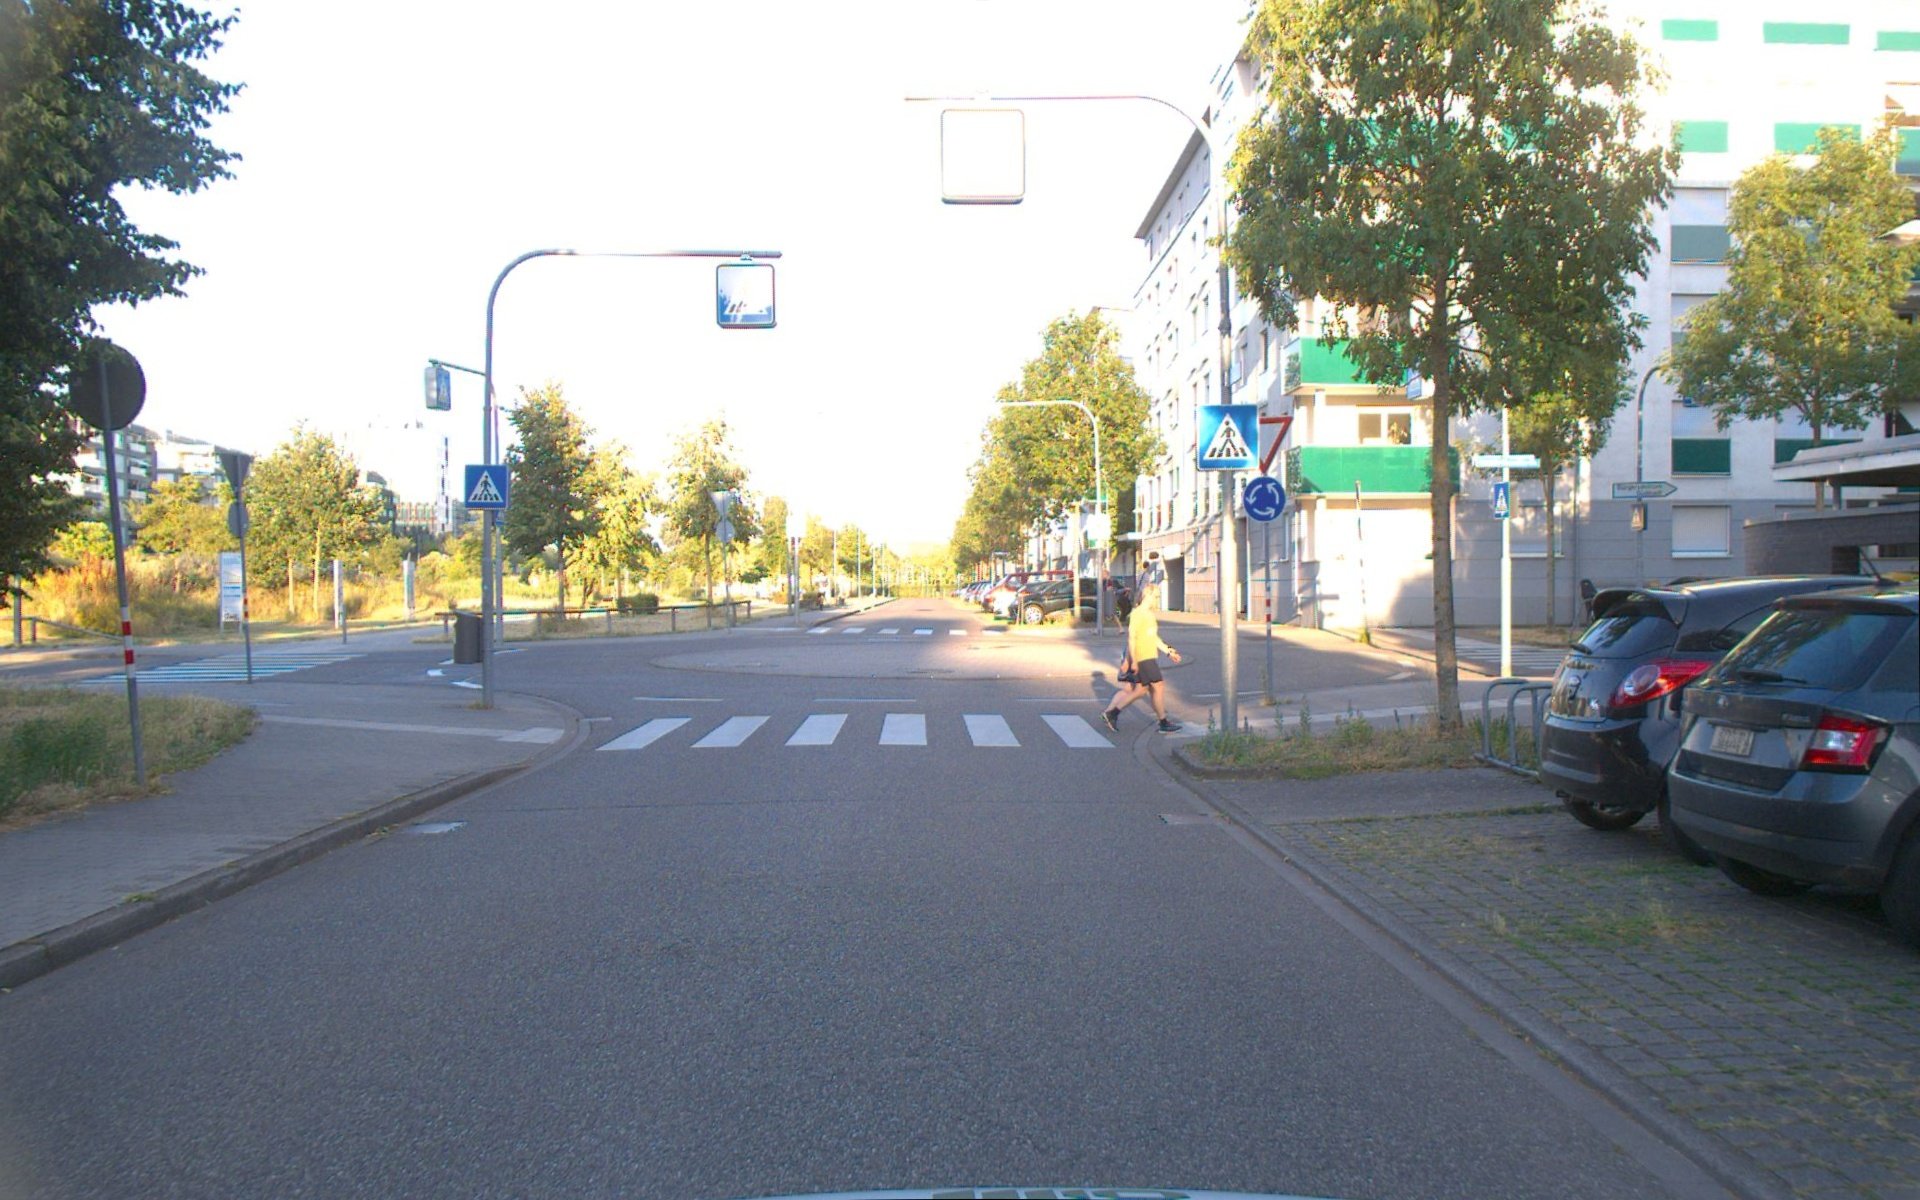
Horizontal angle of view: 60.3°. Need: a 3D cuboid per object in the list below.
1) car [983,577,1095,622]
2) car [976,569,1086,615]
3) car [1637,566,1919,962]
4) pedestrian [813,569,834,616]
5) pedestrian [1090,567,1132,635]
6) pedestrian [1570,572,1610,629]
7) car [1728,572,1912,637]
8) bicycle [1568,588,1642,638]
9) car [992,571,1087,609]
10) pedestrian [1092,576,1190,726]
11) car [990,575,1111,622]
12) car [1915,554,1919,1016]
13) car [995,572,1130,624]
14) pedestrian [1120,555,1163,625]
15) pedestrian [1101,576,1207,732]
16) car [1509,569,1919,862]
[{"bbox_3d":[2.973,-0.019,63.041,4.176,1.624,2.000,-1,0,0],"label":"car"},{"bbox_3d":[3.328,-0.389,78.333,4.906,2.081,2.248,-1,0,-6],"label":"car"},{"bbox_3d":[5.228,0.609,7.379,3.727,1.535,1.678,-1,0,-3],"label":"car"},{"bbox_3d":[-6.121,-0.338,74.080,0.851,2.049,0.787,-1,0,-12],"label":"pedestrian"},{"bbox_3d":[4.091,0.018,44.959,0.984,1.819,0.761,1,0,-8],"label":"pedestrian"},{"bbox_3d":[15.460,0.010,40.598,0.644,1.379,0.802,-1,0,-4],"label":"pedestrian"},{"bbox_3d":[21.020,0.078,40.672,1.954,1.478,4.591,-1,0,-3],"label":"car"},{"bbox_3d":[15.509,0.292,39.836,0.682,1.171,2.459,-1,0,-4],"label":"bicycle"},{"bbox_3d":[3.596,-0.458,75.281,4.177,1.624,1.999,-1,0,-2],"label":"car"},{"bbox_3d":[2.136,0.588,19.569,0.966,1.723,0.698,-1,0,-13],"label":"pedestrian"},{"bbox_3d":[3.267,-0.071,60.313,4.266,1.624,2.000,-1,0,0],"label":"car"},{"bbox_3d":[5.083,0.598,4.772,3.727,1.535,1.678,-1,0,-3],"label":"car"},{"bbox_3d":[3.383,-0.078,55.164,4.392,1.624,2.000,-1,0,0],"label":"car"},{"bbox_3d":[5.384,-0.307,49.143,0.928,2.049,0.843,0,0,45],"label":"pedestrian"},{"bbox_3d":[2.207,0.600,18.874,1.001,1.723,0.757,-1,0,-12],"label":"pedestrian"},{"bbox_3d":[5.354,0.604,9.660,3.724,1.535,1.679,-1,-1,1],"label":"car"}]
